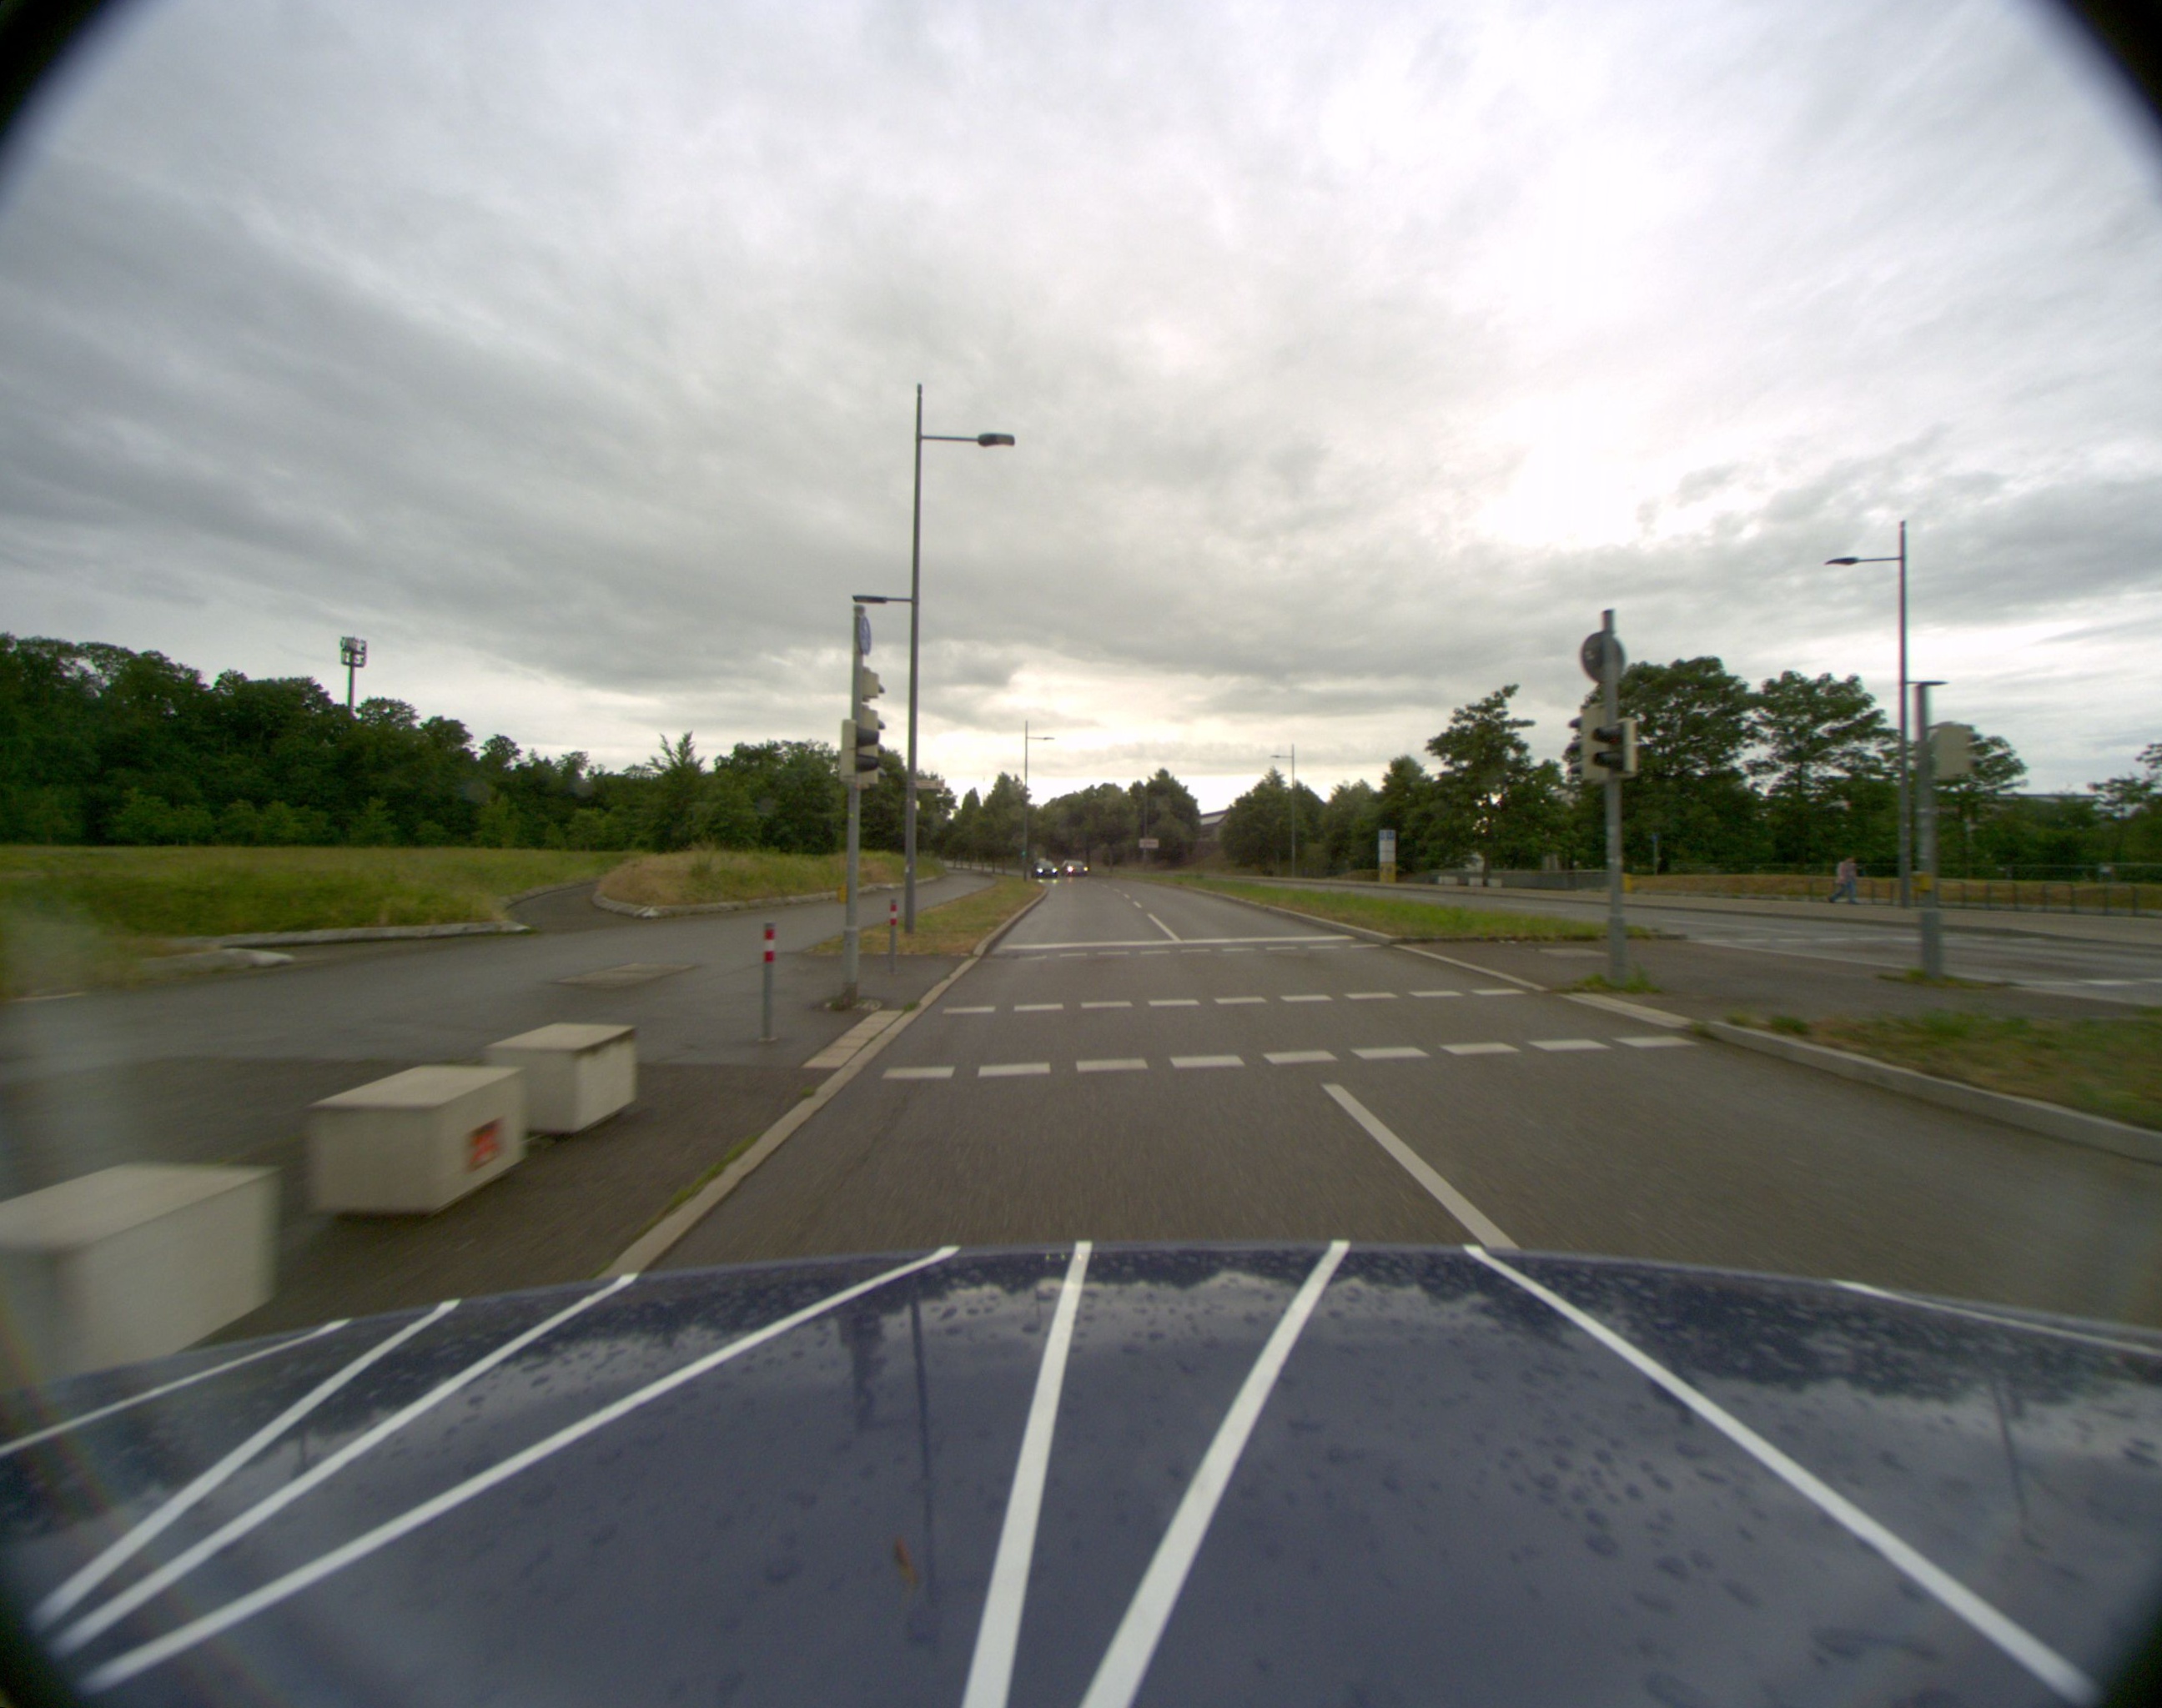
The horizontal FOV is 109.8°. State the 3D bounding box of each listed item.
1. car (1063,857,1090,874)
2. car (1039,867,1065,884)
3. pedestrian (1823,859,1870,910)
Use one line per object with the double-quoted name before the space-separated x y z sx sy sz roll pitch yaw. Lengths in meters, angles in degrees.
"car" -0.424 1.013 67.082 1.811 1.421 4.194 -1 -1 -9
"car" -2.431 1.811 62.829 1.990 1.390 4.176 0 -2 -4
"pedestrian" 24.153 0.955 23.984 0.616 1.584 0.813 0 -2 -4
